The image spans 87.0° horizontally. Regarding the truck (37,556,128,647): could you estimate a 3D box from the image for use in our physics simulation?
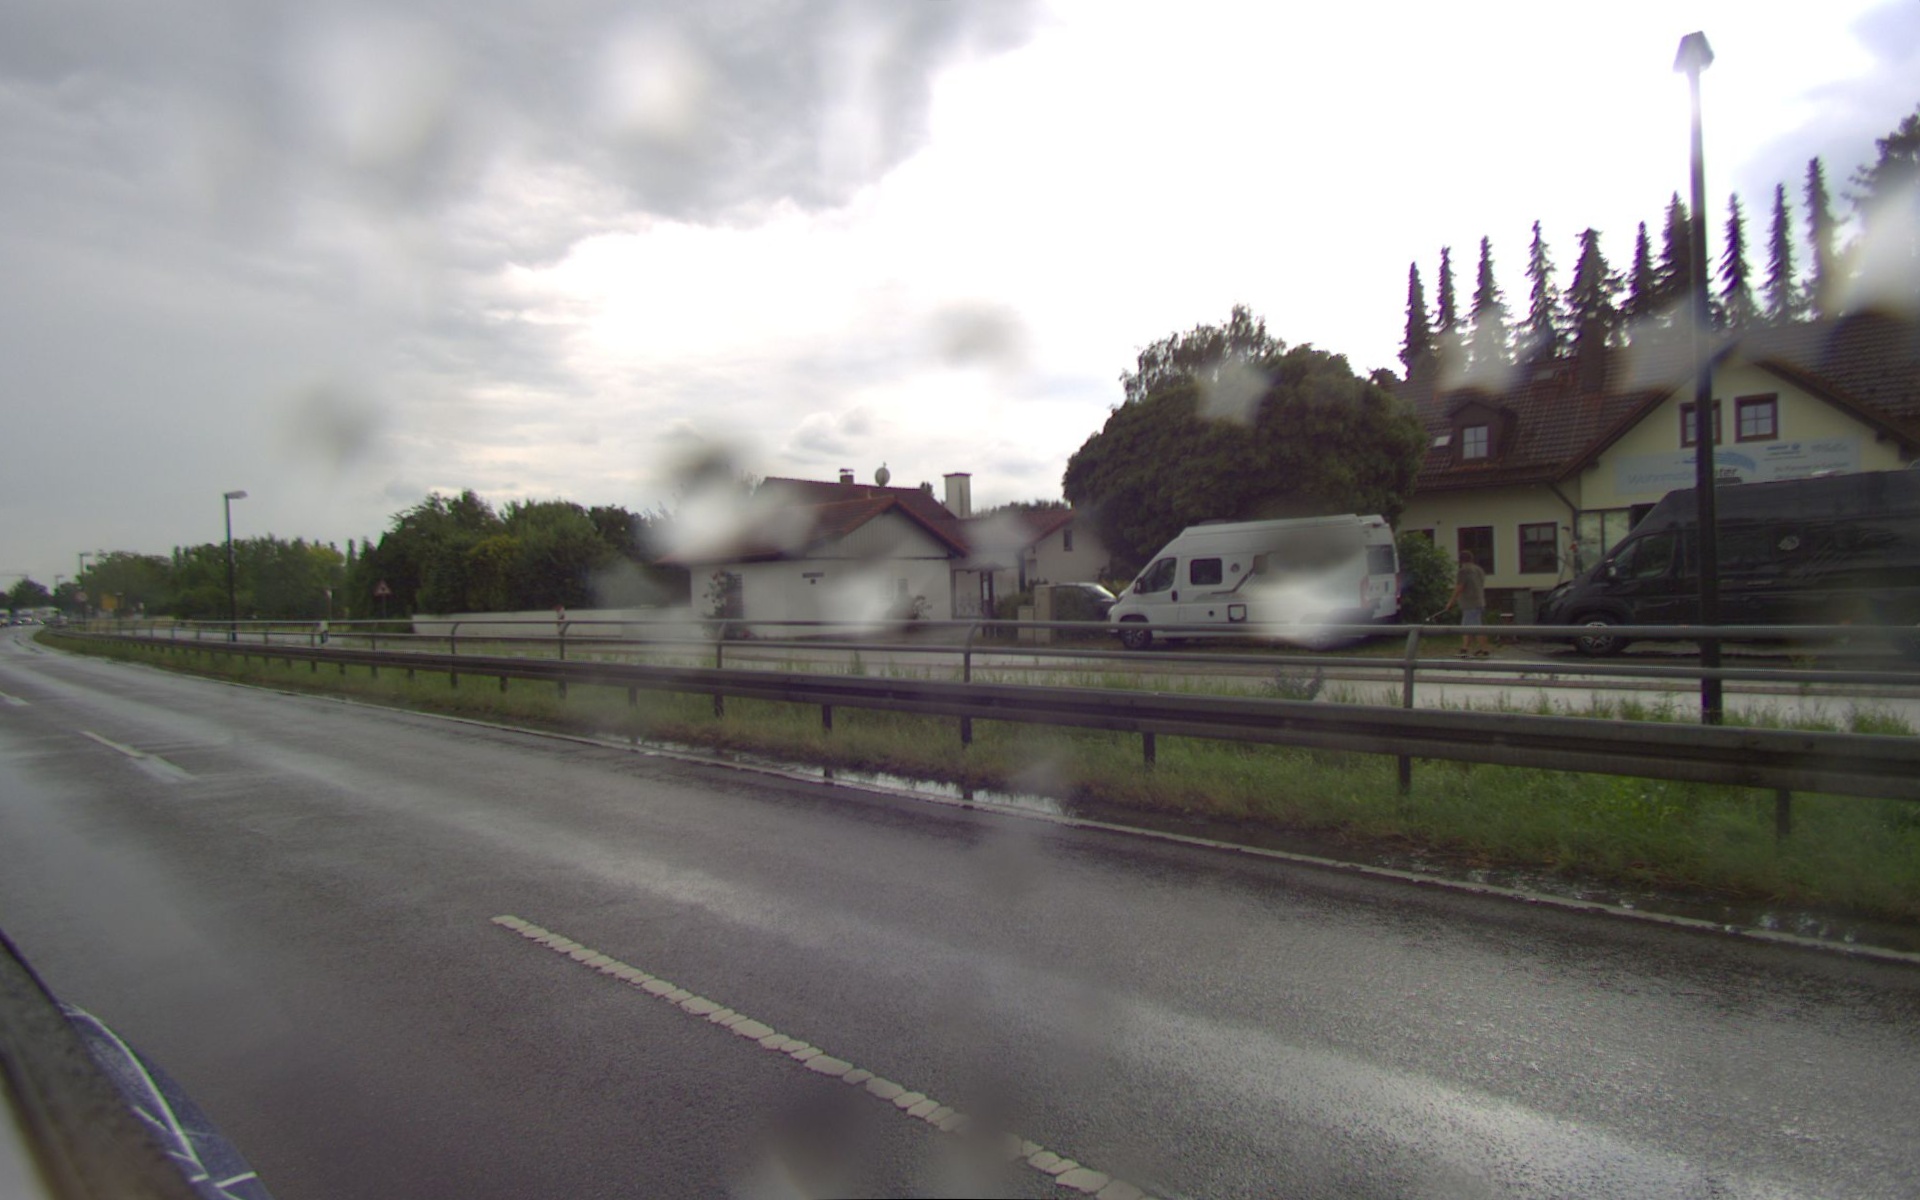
[{"bbox_3d":[-52.420,0.120,60.387,7.784,5.071,3.213,-1,1,44],"label":"truck"}]

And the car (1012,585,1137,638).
[{"bbox_3d":[3.188,0.331,28.473,3.269,1.366,1.433,-1,1,42],"label":"car"}]

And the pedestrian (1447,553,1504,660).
[{"bbox_3d":[8.509,0.095,16.717,0.509,1.723,0.651,-2,1,-41],"label":"pedestrian"}]

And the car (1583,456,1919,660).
[{"bbox_3d":[13.004,-0.588,15.524,5.567,2.783,2.360,-2,1,39],"label":"car"}]

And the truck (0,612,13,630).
[{"bbox_3d":[-136.098,3.045,143.204,7.170,2.494,2.762,-1,1,44],"label":"truck"}]

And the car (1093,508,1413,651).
[{"bbox_3d":[5.966,-0.348,21.211,6.015,2.600,2.215,-2,1,40],"label":"car"}]

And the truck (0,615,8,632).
[{"bbox_3d":[-147.669,3.632,154.665,7.170,2.494,2.762,-1,1,44],"label":"truck"}]

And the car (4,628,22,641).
[{"bbox_3d":[-163.356,5.908,174.555,4.098,2.029,1.973,-2,1,42],"label":"car"}]

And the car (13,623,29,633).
[{"bbox_3d":[-177.737,5.266,191.563,4.026,1.746,1.788,-2,1,42],"label":"car"}]
